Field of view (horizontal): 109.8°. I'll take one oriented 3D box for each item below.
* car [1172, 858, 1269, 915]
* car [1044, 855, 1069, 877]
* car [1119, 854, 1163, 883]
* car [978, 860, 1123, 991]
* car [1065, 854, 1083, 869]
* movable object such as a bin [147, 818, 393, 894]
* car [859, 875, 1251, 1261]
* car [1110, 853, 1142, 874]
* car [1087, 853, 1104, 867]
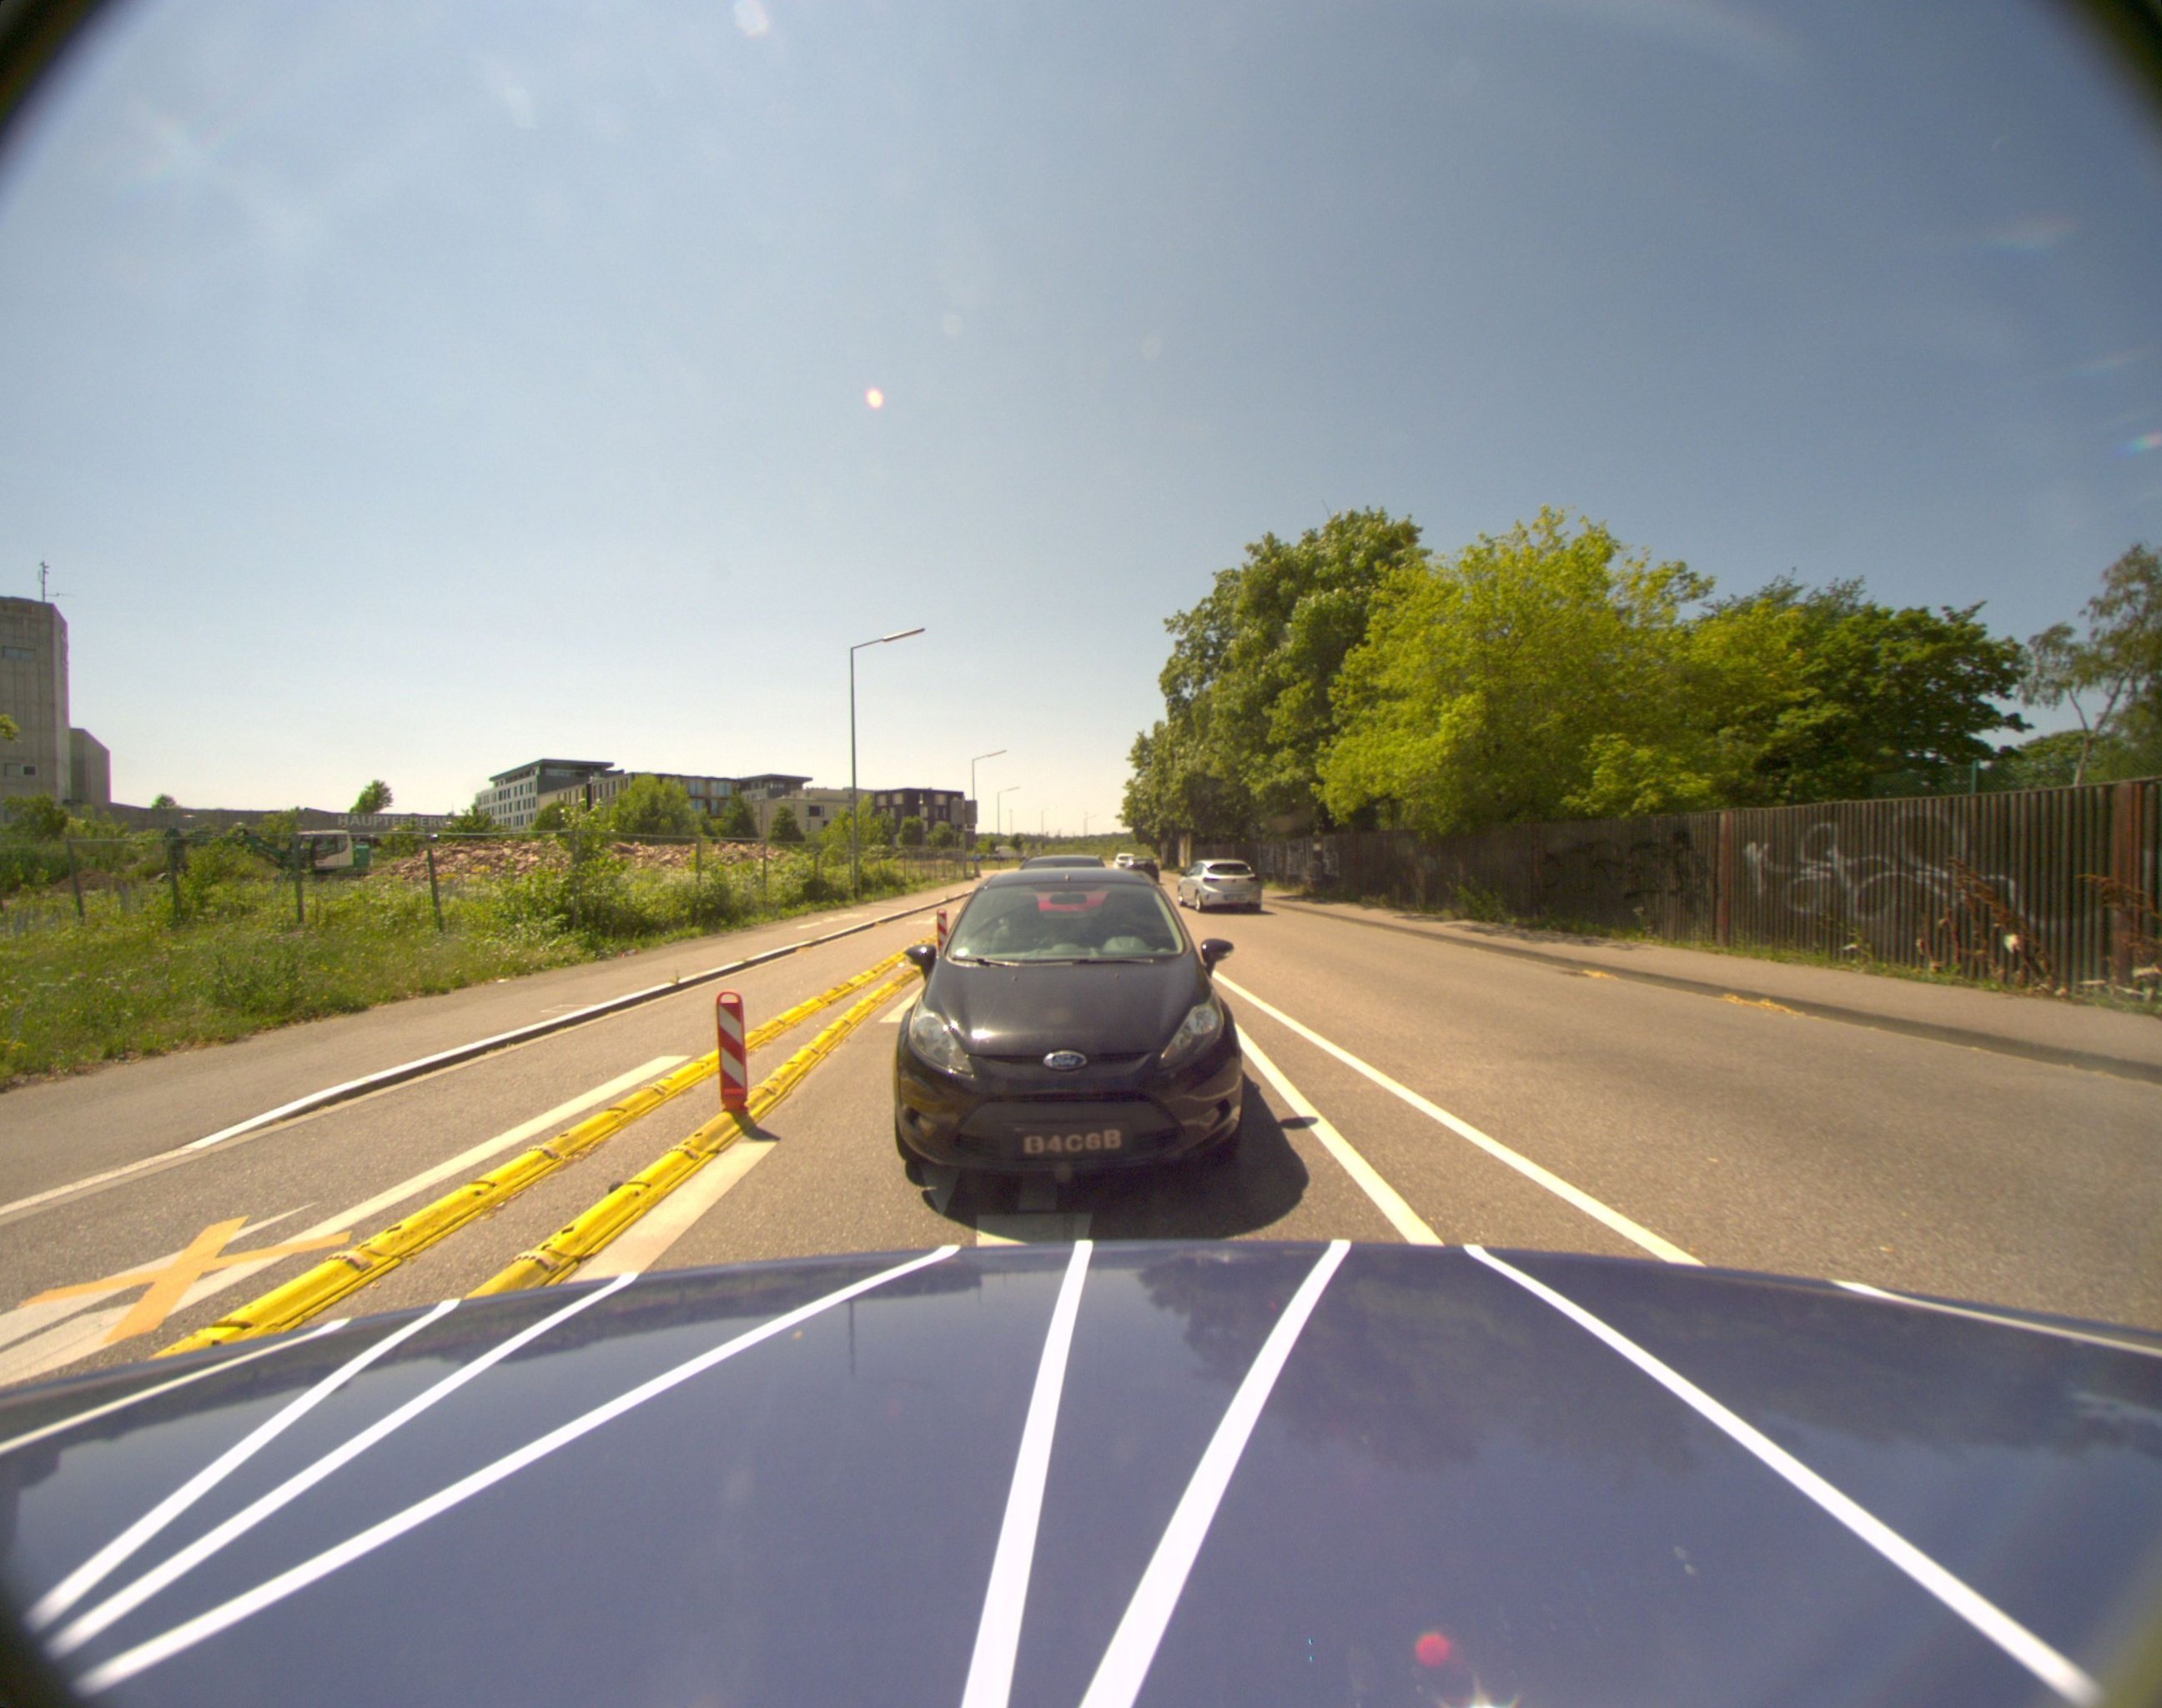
[{"bbox_3d":[3.867,0.858,21.689,1.719,1.455,3.841,1,0,-5],"label":"car"},{"bbox_3d":[-1.822,0.855,56.133,1.759,1.536,3.693,-1,0,-2],"label":"car"},{"bbox_3d":[3.146,0.743,40.466,1.759,1.477,3.692,-1,0,-5],"label":"car"},{"bbox_3d":[-0.340,0.882,11.238,1.720,1.518,4.211,-1,0,1],"label":"car"},{"bbox_3d":[-0.752,0.792,79.970,1.759,1.536,3.693,-1,0,-2],"label":"car"},{"bbox_3d":[-37.991,0.040,36.132,2.810,3.131,7.608,-2,1,8],"label":"movable object such as a bin"},{"bbox_3d":[-0.083,0.957,5.097,1.632,1.499,3.819,-1,0,1],"label":"car"},{"bbox_3d":[3.178,0.654,54.344,1.759,1.477,3.692,-1,0,-5],"label":"car"},{"bbox_3d":[1.704,0.703,90.839,1.759,1.536,3.693,-1,0,-2],"label":"car"}]
